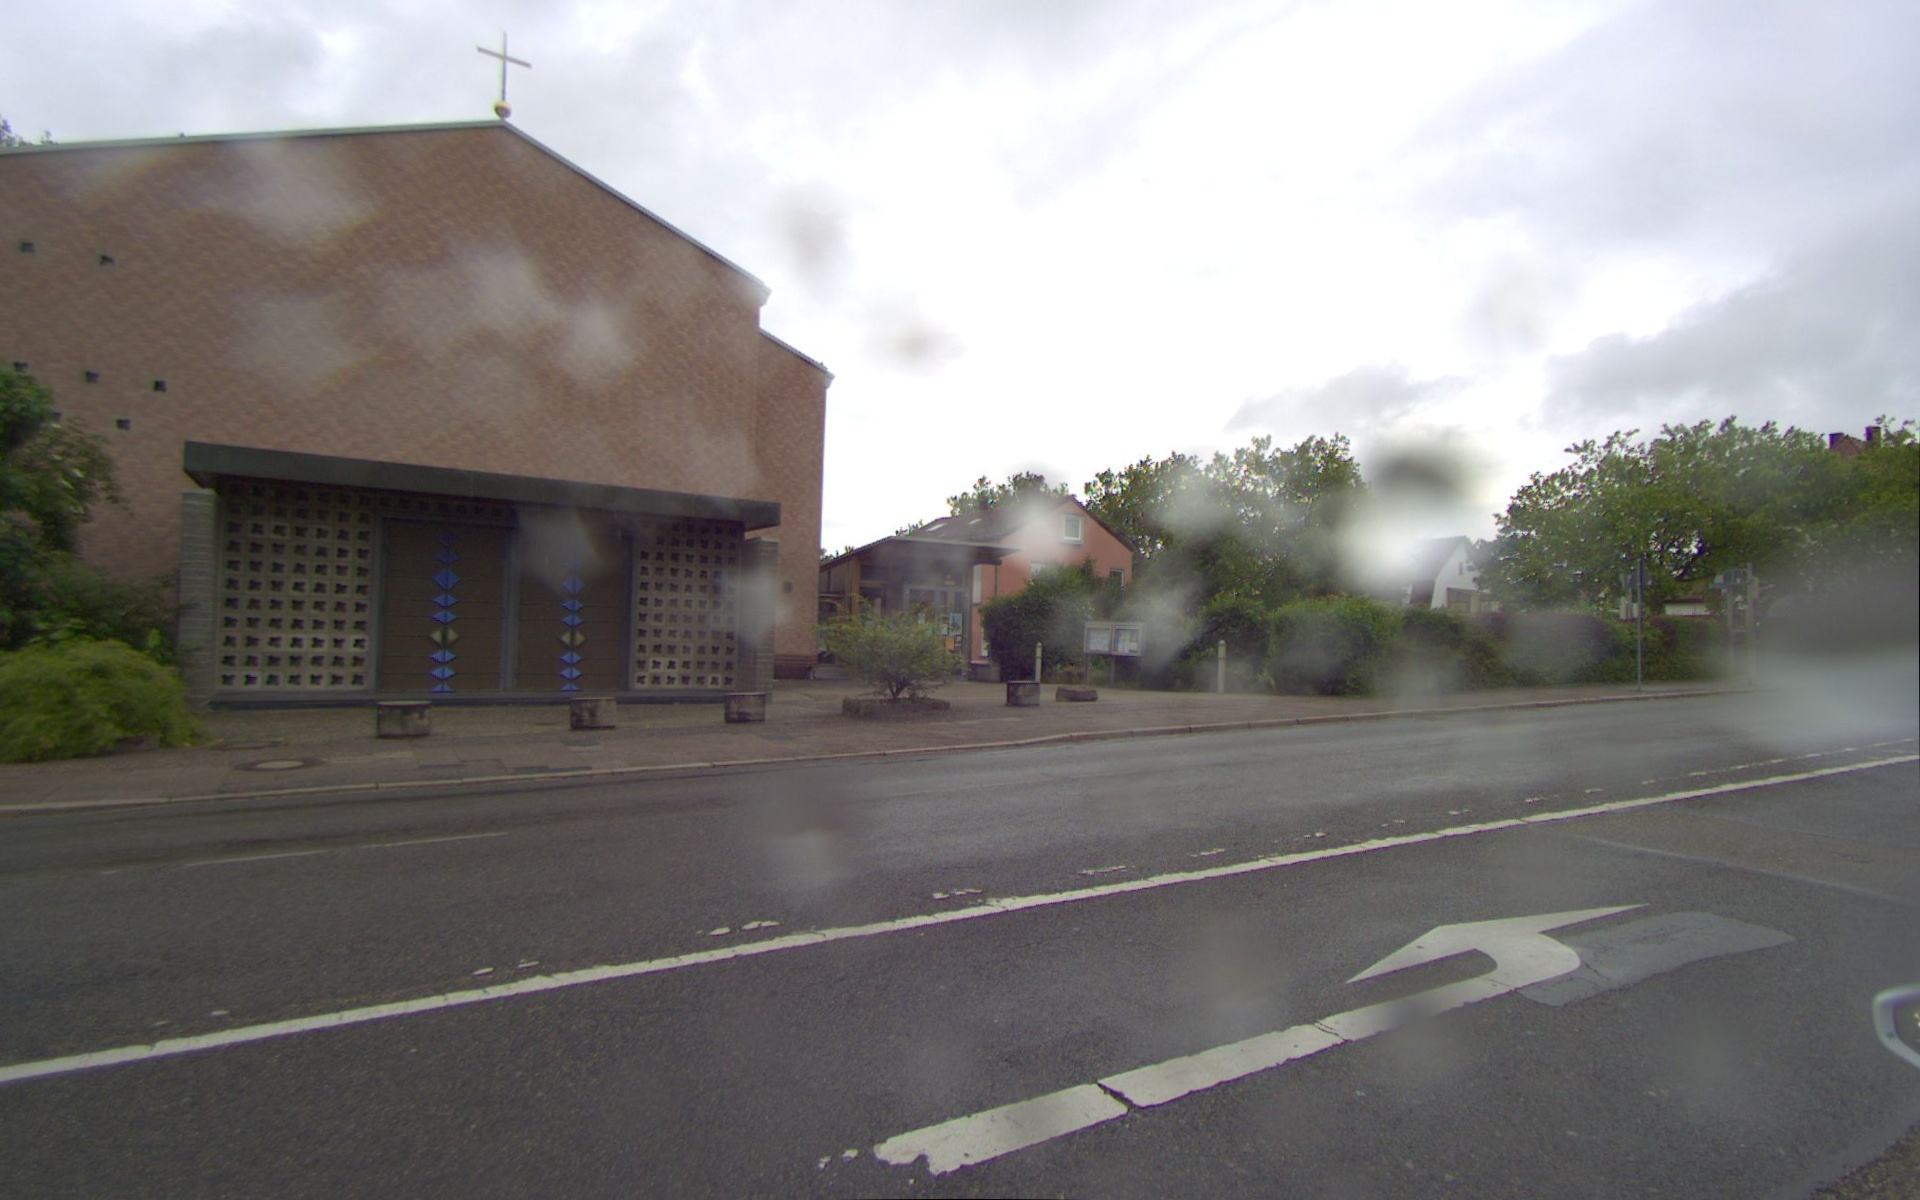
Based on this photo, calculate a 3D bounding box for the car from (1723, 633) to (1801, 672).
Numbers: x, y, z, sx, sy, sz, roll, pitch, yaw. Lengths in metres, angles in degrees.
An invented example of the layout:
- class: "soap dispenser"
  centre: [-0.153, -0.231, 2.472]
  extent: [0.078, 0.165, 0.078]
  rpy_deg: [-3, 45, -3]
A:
- class: "car"
  centre: [39.206, 2.531, 49.078]
  extent: [3.955, 1.573, 1.798]
  rpy_deg: [-3, 2, -32]
